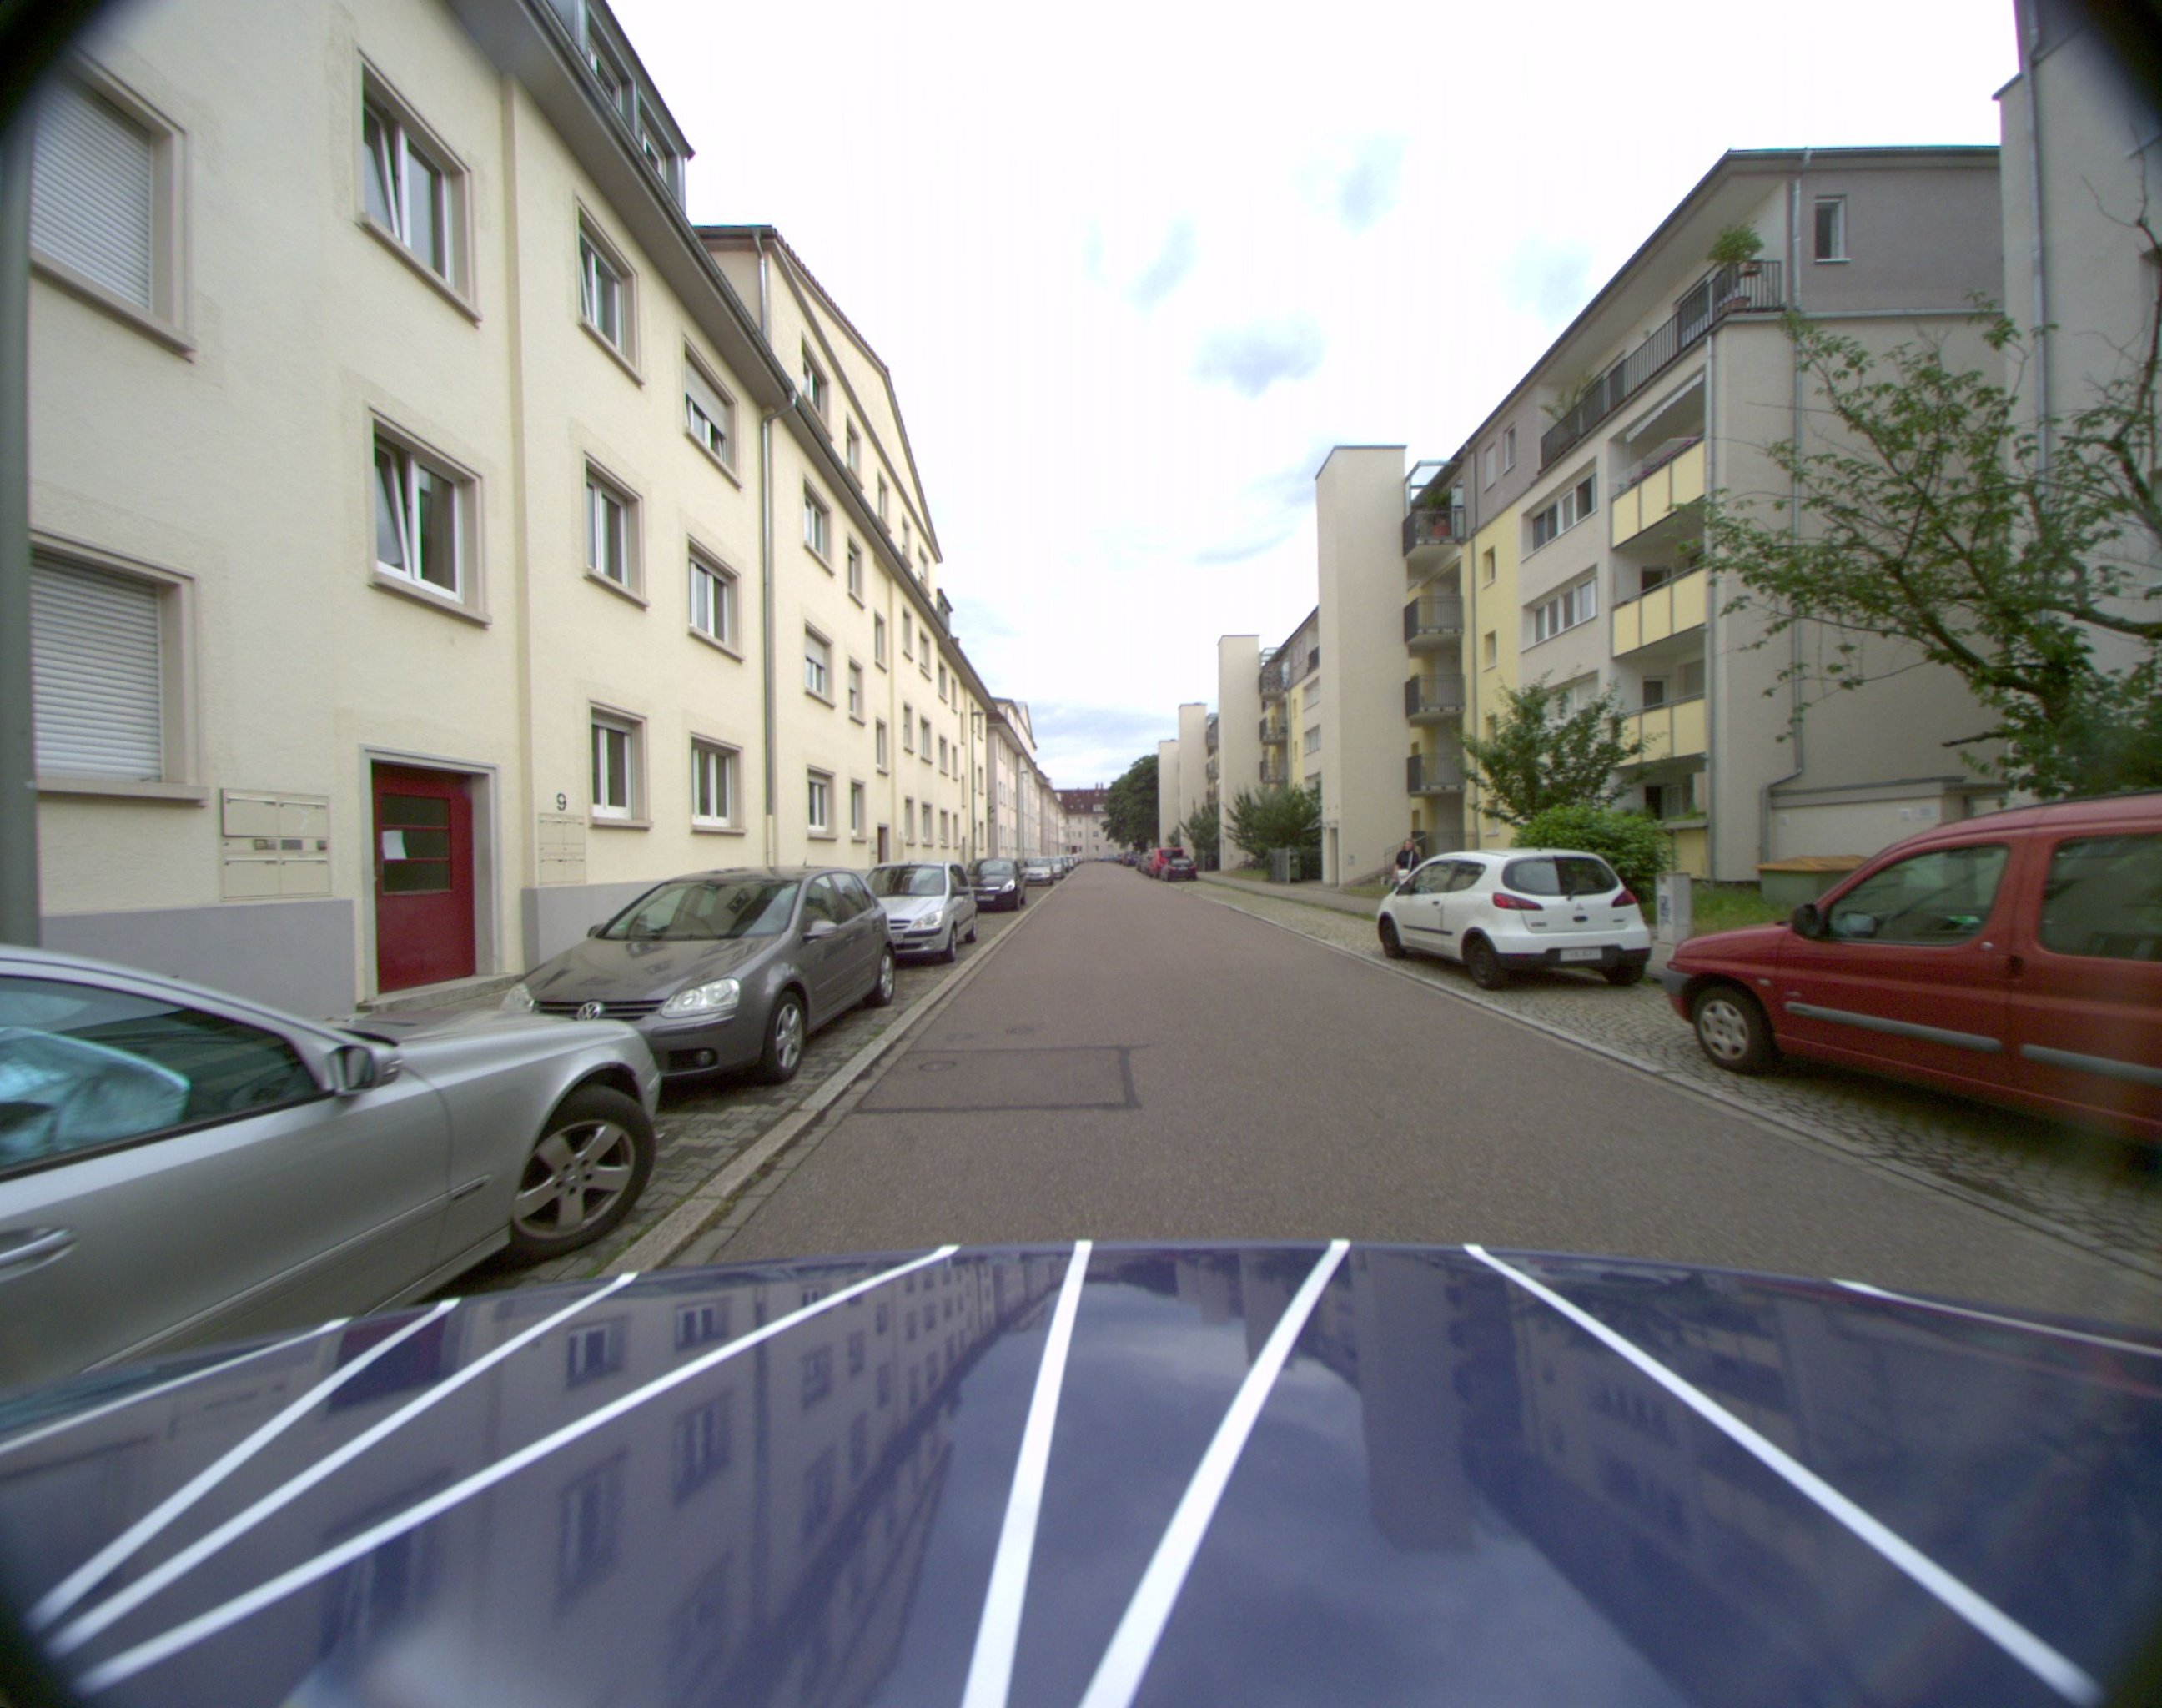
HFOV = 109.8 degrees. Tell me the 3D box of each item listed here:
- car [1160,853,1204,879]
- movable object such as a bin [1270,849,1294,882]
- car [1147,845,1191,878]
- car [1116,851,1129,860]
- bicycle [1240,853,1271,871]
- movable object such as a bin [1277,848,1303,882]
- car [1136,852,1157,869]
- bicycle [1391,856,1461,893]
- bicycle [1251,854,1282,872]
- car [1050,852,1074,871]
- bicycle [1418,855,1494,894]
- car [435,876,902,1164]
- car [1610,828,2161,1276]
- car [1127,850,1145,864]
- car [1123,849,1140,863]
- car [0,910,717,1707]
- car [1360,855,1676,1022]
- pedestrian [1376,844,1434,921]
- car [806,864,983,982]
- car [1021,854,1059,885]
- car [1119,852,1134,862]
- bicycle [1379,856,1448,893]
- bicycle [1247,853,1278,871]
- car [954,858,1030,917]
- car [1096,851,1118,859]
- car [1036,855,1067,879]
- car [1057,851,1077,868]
[{"bbox_3d":[5.790,0.672,43.964,1.875,1.316,4.361,-3,0,0],"label":"car"},{"bbox_3d":[9.071,0.501,34.323,0.805,1.421,1.288,-2,1,4],"label":"movable object such as a bin"},{"bbox_3d":[5.738,0.473,50.200,2.157,1.942,4.921,-3,0,-1],"label":"car"},{"bbox_3d":[7.499,0.208,137.649,2.000,1.566,4.209,-3,0,1],"label":"car"},{"bbox_3d":[11.324,0.497,49.349,1.839,1.112,0.605,-2,1,0],"label":"bicycle"},{"bbox_3d":[9.053,0.473,32.937,0.805,1.421,1.288,-2,1,5],"label":"movable object such as a bin"},{"bbox_3d":[6.222,0.588,72.114,1.647,1.430,3.856,-3,0,1],"label":"car"},{"bbox_3d":[10.970,0.638,24.181,2.029,1.135,0.623,-1,1,-9],"label":"bicycle"},{"bbox_3d":[11.651,0.555,47.695,1.838,1.112,0.571,-1,1,7],"label":"bicycle"},{"bbox_3d":[-1.587,0.639,64.783,1.729,1.460,4.264,-2,0,2],"label":"car"},{"bbox_3d":[11.481,0.618,23.298,2.028,1.135,0.623,-1,1,-2],"label":"bicycle"},{"bbox_3d":[-2.795,1.003,6.238,1.607,1.468,3.869,-2,0,1],"label":"car"},{"bbox_3d":[5.243,0.765,3.870,1.961,1.760,4.361,-2,0,-1],"label":"car"},{"bbox_3d":[6.482,0.356,90.145,1.804,1.617,4.472,-2,0,1],"label":"car"},{"bbox_3d":[6.769,0.289,102.215,1.891,1.844,4.785,-1,0,0],"label":"car"},{"bbox_3d":[-2.732,1.043,1.498,1.729,1.468,4.504,-2,0,1],"label":"car"},{"bbox_3d":[5.068,0.844,9.514,1.725,1.561,3.870,-3,0,1],"label":"car"},{"bbox_3d":[6.921,0.590,16.277,0.802,1.600,0.946,-1,1,-3],"label":"pedestrian"},{"bbox_3d":[-2.705,0.939,11.960,1.853,1.441,3.832,-1,0,-1],"label":"car"},{"bbox_3d":[-2.086,0.759,39.232,1.729,1.508,4.060,-1,0,0],"label":"car"},{"bbox_3d":[7.028,0.393,117.643,1.919,1.431,4.434,-3,0,0],"label":"car"},{"bbox_3d":[10.858,0.648,24.806,2.029,1.135,0.623,-1,1,-9],"label":"bicycle"},{"bbox_3d":[11.614,0.517,48.671,1.839,1.112,0.570,-1,1,3],"label":"bicycle"},{"bbox_3d":[-2.480,0.888,22.091,1.729,1.508,4.060,-1,0,0],"label":"car"},{"bbox_3d":[5.578,0.199,160.515,4.545,1.551,1.565,-1,1,5],"label":"car"},{"bbox_3d":[-1.883,0.816,49.544,1.729,1.483,4.060,-1,0,1],"label":"car"},{"bbox_3d":[-1.358,0.537,77.733,1.788,1.590,3.805,-2,0,2],"label":"car"}]
